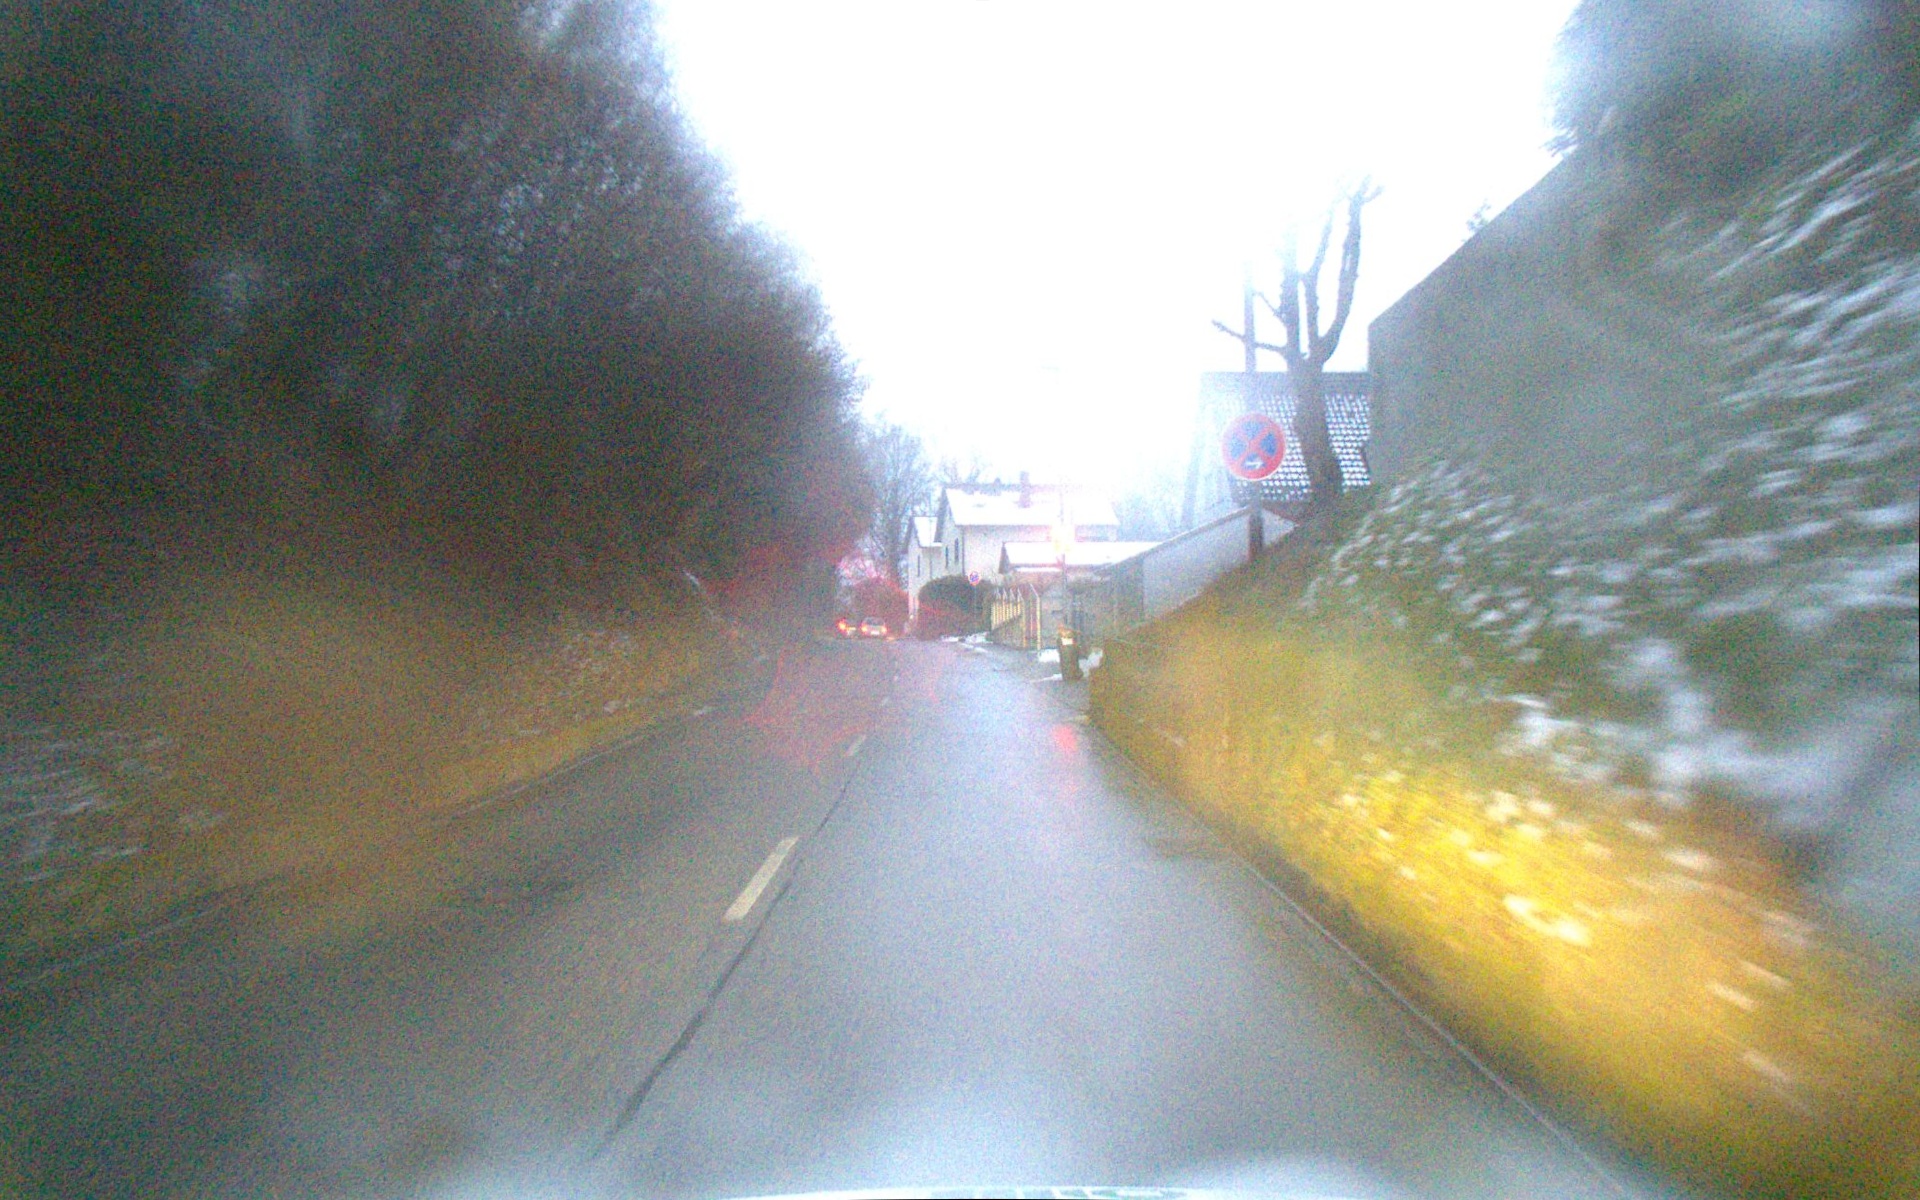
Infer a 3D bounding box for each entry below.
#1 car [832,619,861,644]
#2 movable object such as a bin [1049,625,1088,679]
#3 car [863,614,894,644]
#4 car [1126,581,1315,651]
[{"bbox_3d":[-8.049,2.250,117.934,1.768,1.646,3.999,2,-2,-1],"label":"car"},{"bbox_3d":[2.121,1.017,32.252,0.670,1.021,0.857,-2,-3,7],"label":"movable object such as a bin"},{"bbox_3d":[-5.164,1.861,105.222,1.768,1.769,3.999,2,-2,-1],"label":"car"},{"bbox_3d":[5.663,0.378,36.348,3.904,1.288,1.696,-3,-3,3],"label":"car"}]
